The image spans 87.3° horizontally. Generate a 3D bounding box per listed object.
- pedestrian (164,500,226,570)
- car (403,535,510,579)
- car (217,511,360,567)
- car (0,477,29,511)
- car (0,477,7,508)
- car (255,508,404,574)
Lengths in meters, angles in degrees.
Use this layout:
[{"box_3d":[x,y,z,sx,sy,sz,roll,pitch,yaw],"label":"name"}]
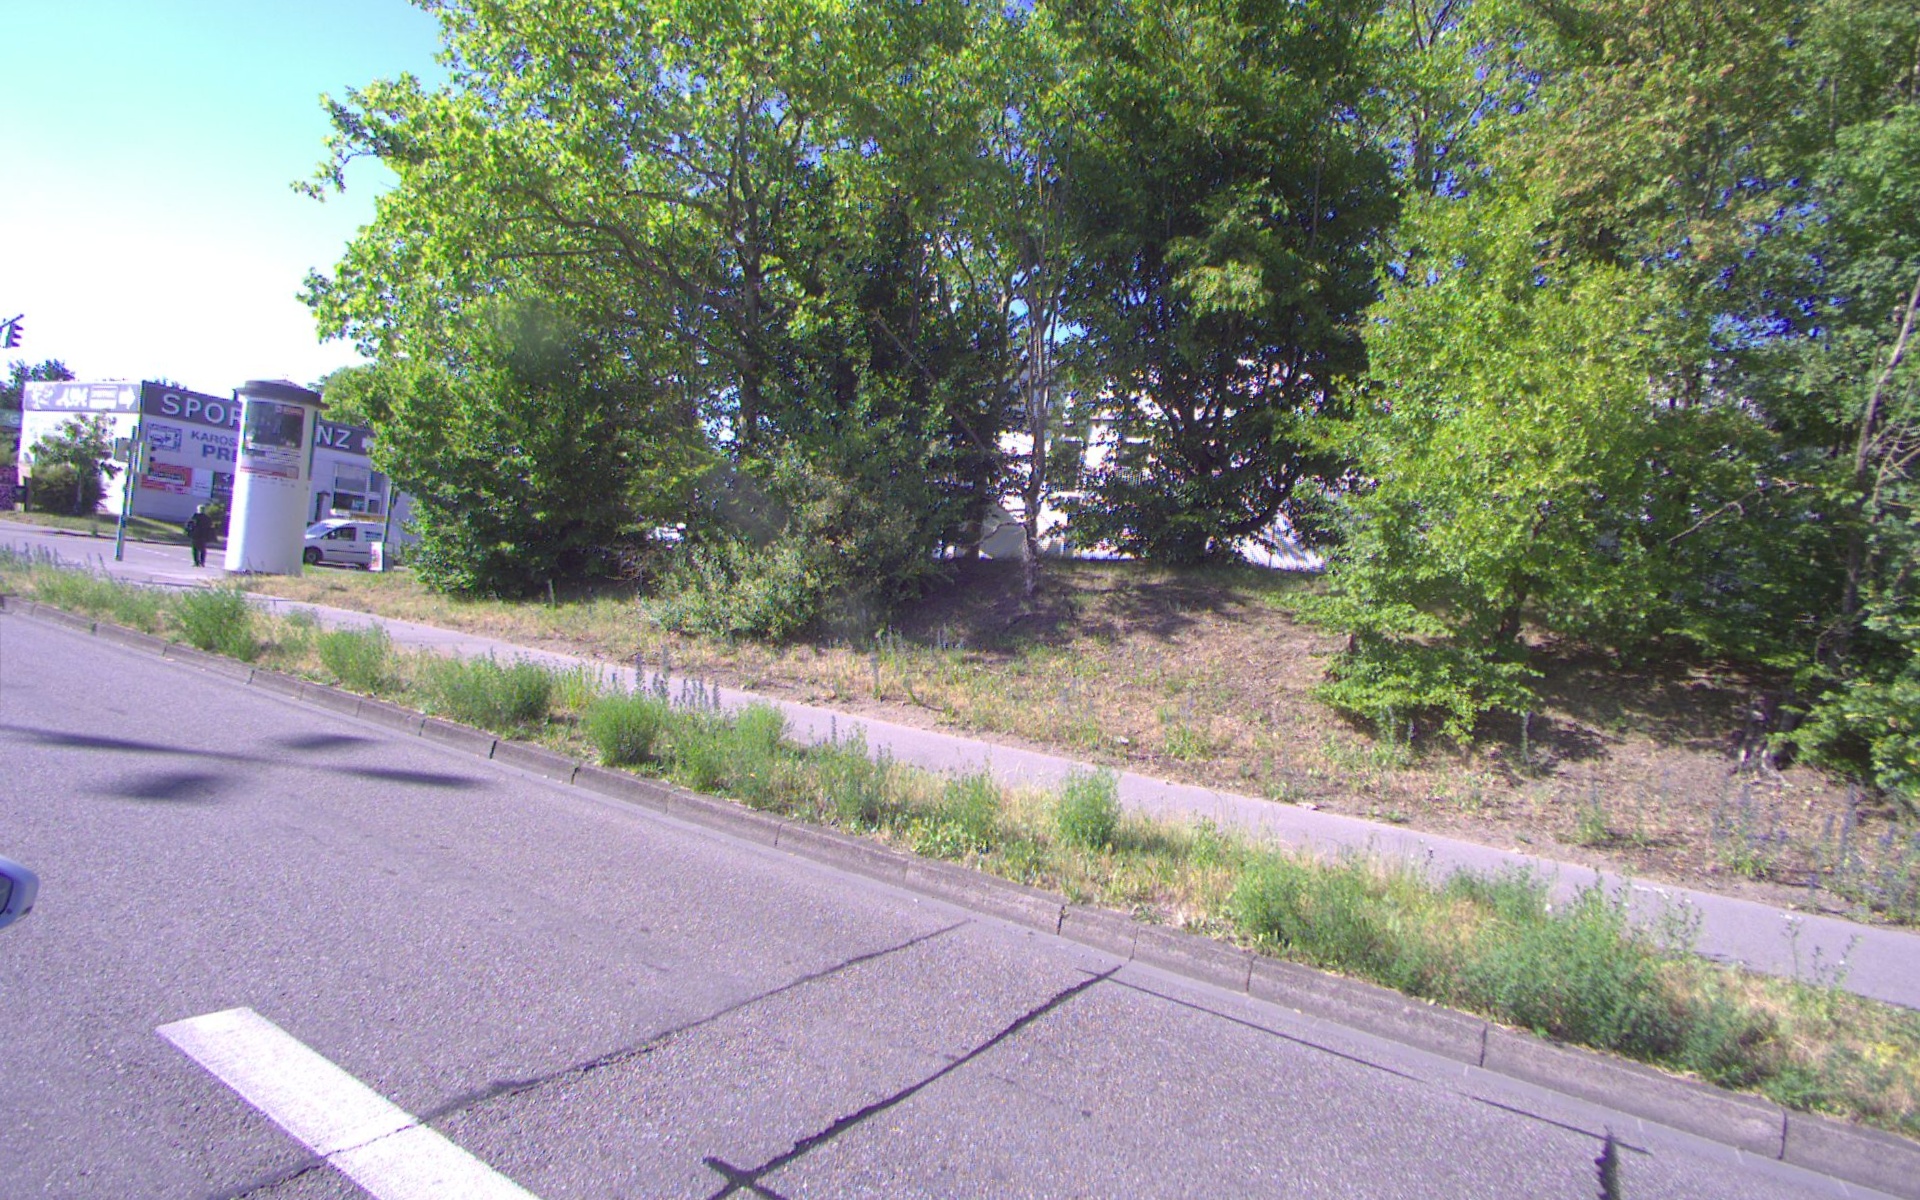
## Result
[{"box_3d":[-21.270,-1.802,27.982,0.923,1.755,0.927,6,-1,31],"label":"pedestrian"},{"box_3d":[-23.053,-1.950,46.183,1.752,1.509,4.046,7,1,30],"label":"car"},{"box_3d":[-26.617,-2.381,40.020,1.735,1.568,4.292,9,1,30],"label":"car"},{"box_3d":[-46.884,-5.229,47.102,1.828,1.472,4.490,7,1,33],"label":"car"},{"box_3d":[-49.236,-5.496,48.471,1.828,1.472,4.490,7,1,33],"label":"car"},{"box_3d":[-23.863,-2.195,38.237,1.735,1.824,4.387,9,1,30],"label":"car"}]
